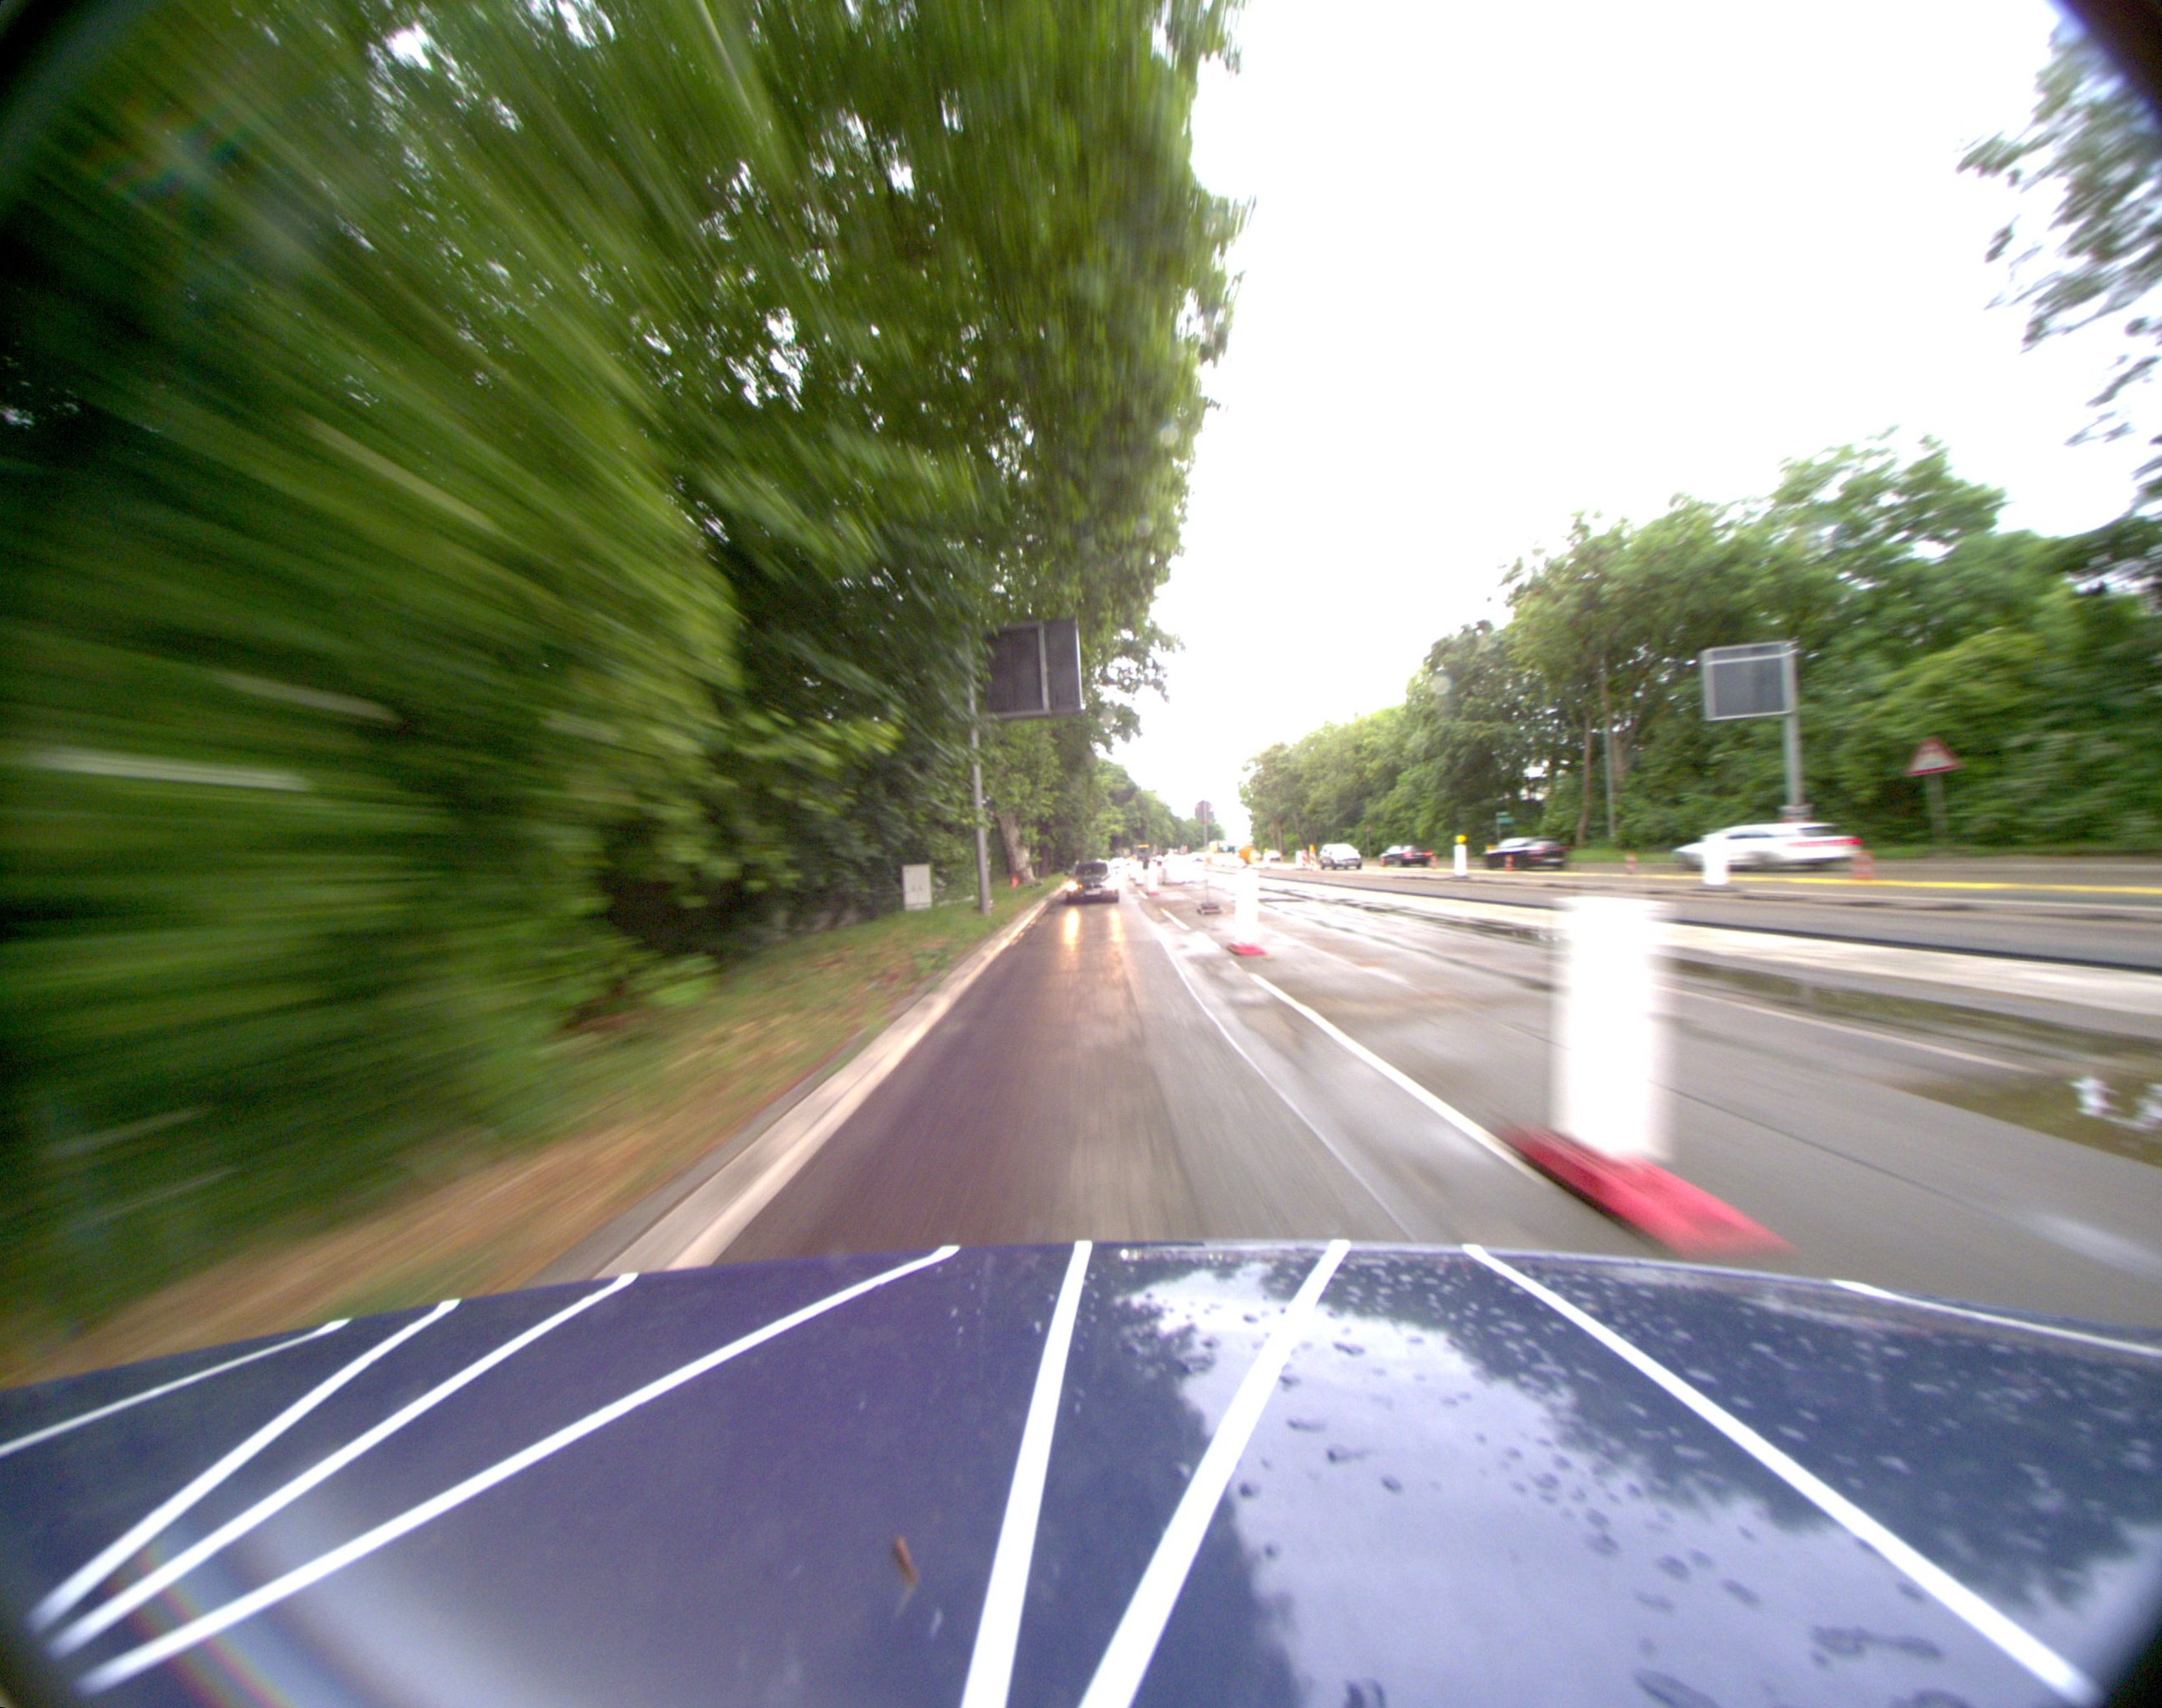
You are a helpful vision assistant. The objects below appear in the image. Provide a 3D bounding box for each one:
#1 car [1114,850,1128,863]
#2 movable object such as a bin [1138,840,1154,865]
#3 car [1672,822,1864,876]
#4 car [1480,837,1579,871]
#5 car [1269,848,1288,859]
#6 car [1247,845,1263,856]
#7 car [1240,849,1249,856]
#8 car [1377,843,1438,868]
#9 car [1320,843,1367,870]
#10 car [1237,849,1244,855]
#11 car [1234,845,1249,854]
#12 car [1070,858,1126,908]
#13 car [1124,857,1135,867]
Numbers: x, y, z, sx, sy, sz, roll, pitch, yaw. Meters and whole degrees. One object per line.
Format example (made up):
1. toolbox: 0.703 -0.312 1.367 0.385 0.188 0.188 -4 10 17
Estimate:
1. car: 5.615 0.349 107.392 1.707 1.681 4.473 -2 0 6
2. movable object such as a bin: 8.160 -0.186 95.070 1.807 2.968 5.247 -2 0 6
3. car: 21.282 -0.128 23.847 1.822 1.411 4.603 -4 0 0
4. car: 19.289 0.010 32.918 1.822 1.347 4.205 -1 0 0
5. car: 26.835 -0.069 103.493 1.670 1.532 4.158 0 0 2
6. car: 29.636 -0.647 129.206 1.781 1.741 4.381 -2 0 1
7. car: 36.551 -0.368 170.365 1.787 1.444 4.685 -2 0 10
8. car: 19.683 0.104 46.012 1.822 1.347 4.390 -1 0 0
9. car: 16.563 0.139 48.070 1.793 1.574 3.862 -3 0 4
10. car: 41.770 -0.564 199.098 1.787 1.418 4.473 -2 0 12
11. car: 30.417 -0.829 143.979 1.781 1.653 4.916 -1 0 1
12. car: 0.519 0.923 25.872 1.701 1.477 3.999 -2 0 0
13. car: 8.984 1.498 140.272 1.706 1.681 4.474 -2 0 8
